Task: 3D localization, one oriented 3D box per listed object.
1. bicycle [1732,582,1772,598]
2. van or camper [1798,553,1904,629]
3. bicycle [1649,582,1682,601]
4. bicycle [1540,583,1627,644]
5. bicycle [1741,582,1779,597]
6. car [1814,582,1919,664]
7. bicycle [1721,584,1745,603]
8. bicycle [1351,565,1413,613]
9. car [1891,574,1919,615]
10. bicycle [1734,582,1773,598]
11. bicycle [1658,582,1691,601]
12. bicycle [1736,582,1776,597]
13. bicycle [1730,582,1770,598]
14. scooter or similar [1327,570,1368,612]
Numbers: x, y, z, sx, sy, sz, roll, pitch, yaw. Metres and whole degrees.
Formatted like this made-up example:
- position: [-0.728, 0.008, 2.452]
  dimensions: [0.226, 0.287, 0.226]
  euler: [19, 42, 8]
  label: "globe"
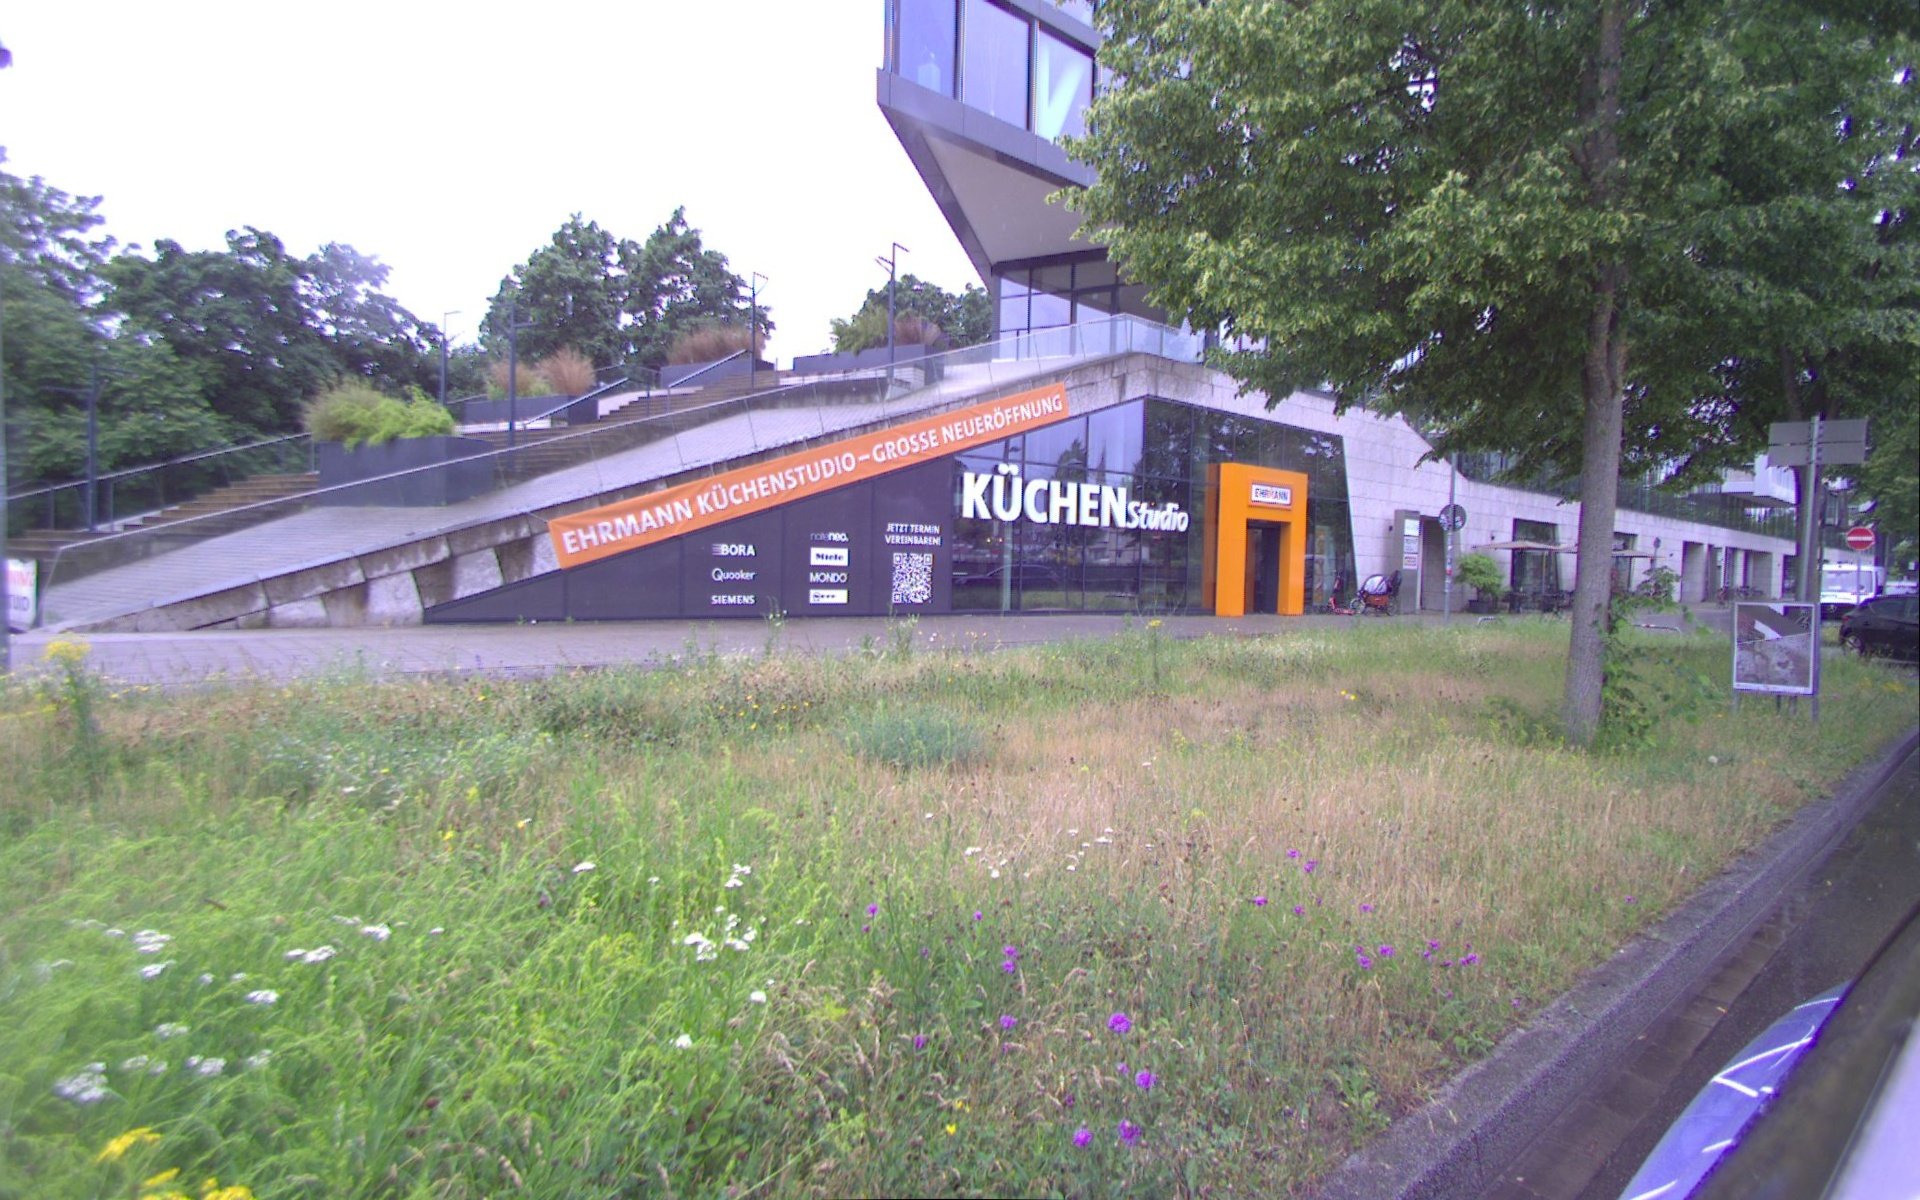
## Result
- position: [53.100, -0.685, 67.881]
  dimensions: [0.389, 0.957, 2.025]
  euler: [-1, 4, -45]
  label: "bicycle"
- position: [29.541, -0.351, 33.490]
  dimensions: [5.367, 2.320, 2.028]
  euler: [-1, 2, -42]
  label: "van or camper"
- position: [36.621, -0.431, 52.539]
  dimensions: [0.388, 0.958, 2.028]
  euler: [-1, 1, 4]
  label: "bicycle"
- position: [14.591, 0.284, 23.753]
  dimensions: [0.521, 1.363, 1.852]
  euler: [2, 1, -16]
  label: "bicycle"
- position: [54.894, -0.715, 69.457]
  dimensions: [0.389, 0.957, 2.025]
  euler: [-1, 4, -45]
  label: "bicycle"
- position: [18.379, 0.432, 18.773]
  dimensions: [1.802, 1.437, 4.337]
  euler: [1, 2, 8]
  label: "car"
- position: [40.403, -0.339, 52.880]
  dimensions: [1.823, 0.957, 0.403]
  euler: [-1, 2, -34]
  label: "bicycle"
- position: [13.236, -0.330, 31.724]
  dimensions: [2.382, 1.419, 0.734]
  euler: [0, 3, -41]
  label: "bicycle"
- position: [44.126, -0.270, 46.324]
  dimensions: [4.766, 1.781, 1.744]
  euler: [-1, 2, -42]
  label: "car"
- position: [53.519, -0.692, 68.289]
  dimensions: [0.389, 0.957, 2.025]
  euler: [-1, 4, -45]
  label: "bicycle"
- position: [37.237, -0.443, 52.775]
  dimensions: [0.388, 0.958, 2.028]
  euler: [-1, 1, 4]
  label: "bicycle"
- position: [53.974, -0.708, 68.639]
  dimensions: [0.389, 0.957, 2.025]
  euler: [-1, 4, -45]
  label: "bicycle"
- position: [52.590, -0.675, 67.360]
  dimensions: [0.389, 0.957, 2.025]
  euler: [-1, 4, -45]
  label: "bicycle"
- position: [11.730, -0.281, 30.626]
  dimensions: [1.214, 1.243, 0.343]
  euler: [-1, 0, -22]
  label: "scooter or similar"
